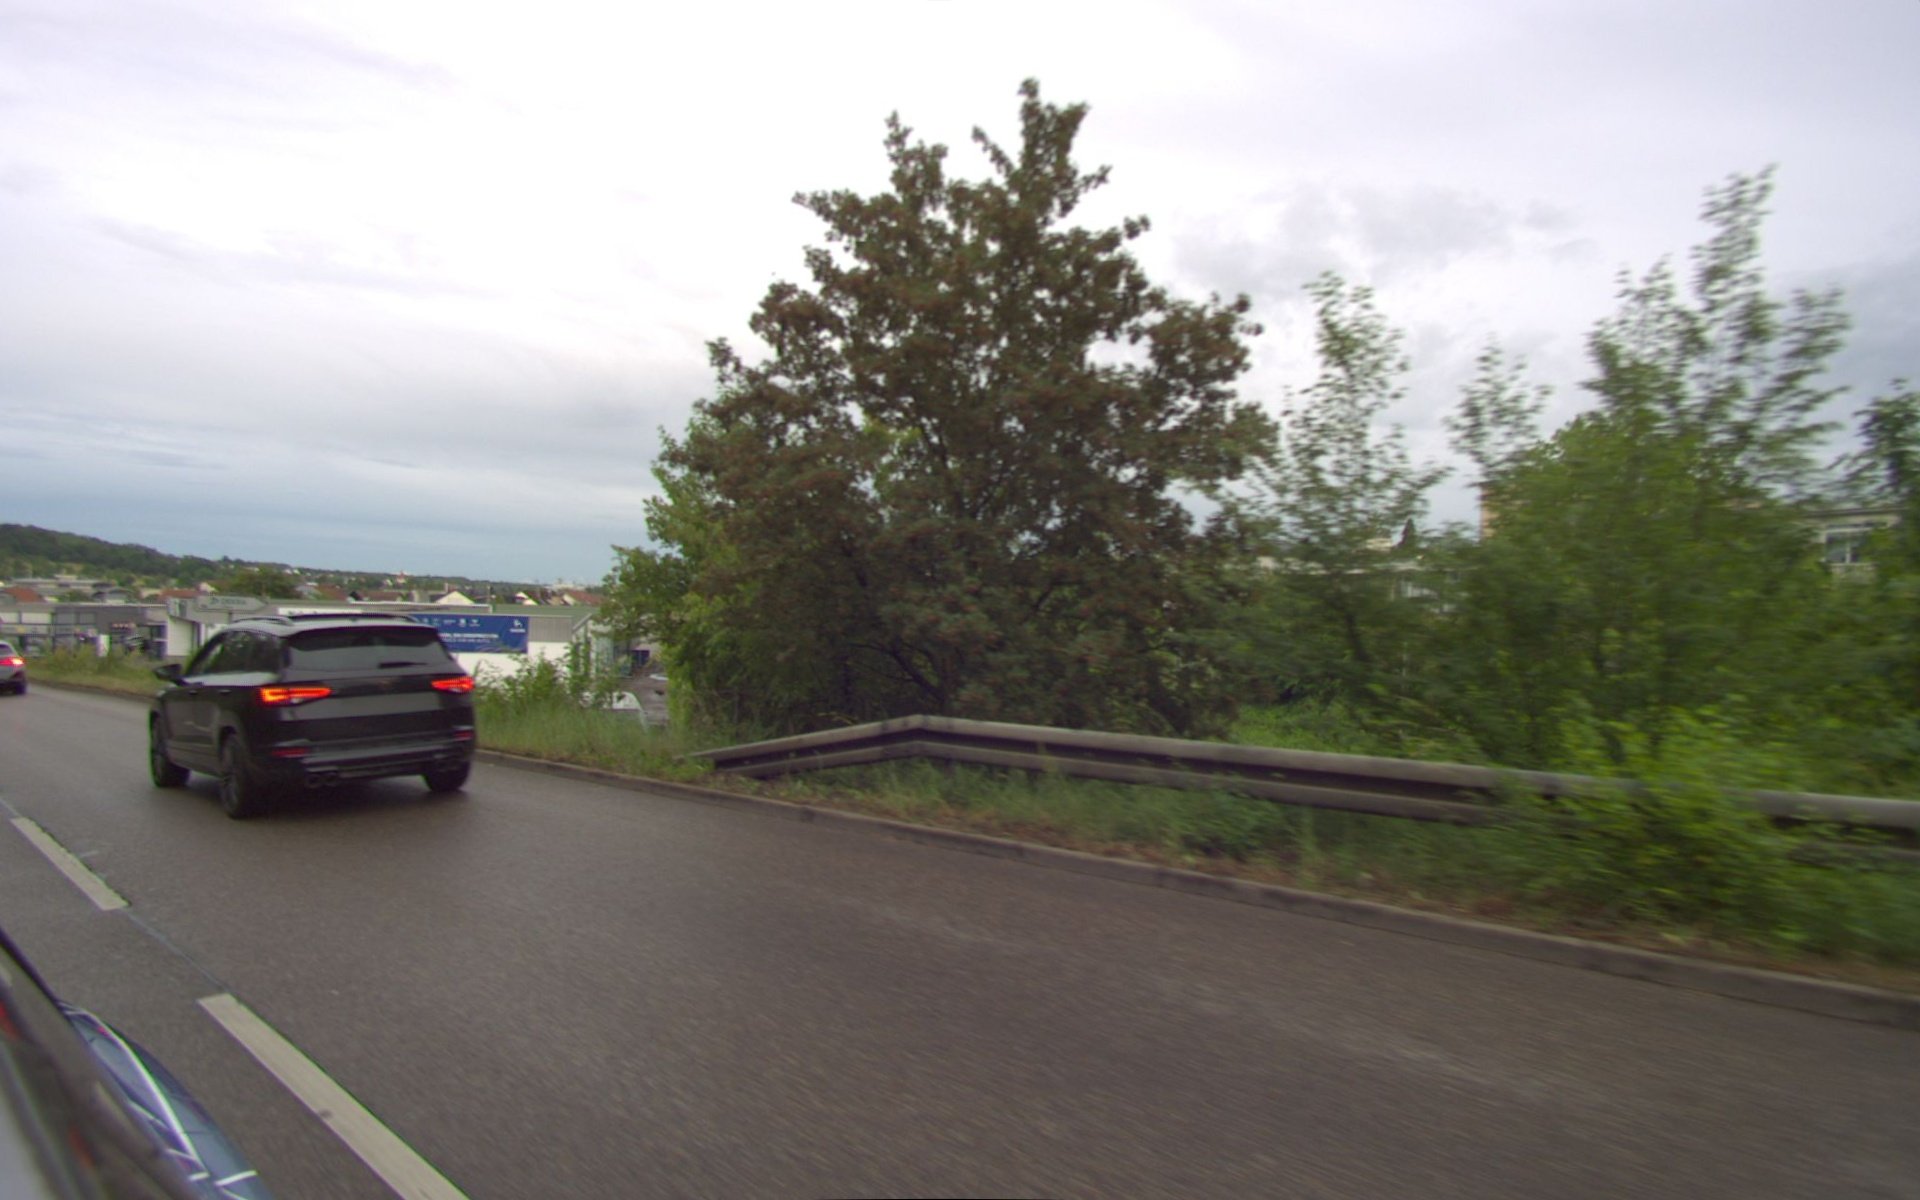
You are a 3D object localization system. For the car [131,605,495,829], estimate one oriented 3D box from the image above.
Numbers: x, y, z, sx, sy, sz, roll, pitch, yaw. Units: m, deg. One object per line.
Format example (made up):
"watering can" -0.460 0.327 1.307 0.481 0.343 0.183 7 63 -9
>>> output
"car" -6.005 0.893 9.200 4.078 1.597 1.712 -2 -2 41

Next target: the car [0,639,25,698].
"car" -27.015 1.860 27.504 4.725 1.515 1.842 -2 -2 41
